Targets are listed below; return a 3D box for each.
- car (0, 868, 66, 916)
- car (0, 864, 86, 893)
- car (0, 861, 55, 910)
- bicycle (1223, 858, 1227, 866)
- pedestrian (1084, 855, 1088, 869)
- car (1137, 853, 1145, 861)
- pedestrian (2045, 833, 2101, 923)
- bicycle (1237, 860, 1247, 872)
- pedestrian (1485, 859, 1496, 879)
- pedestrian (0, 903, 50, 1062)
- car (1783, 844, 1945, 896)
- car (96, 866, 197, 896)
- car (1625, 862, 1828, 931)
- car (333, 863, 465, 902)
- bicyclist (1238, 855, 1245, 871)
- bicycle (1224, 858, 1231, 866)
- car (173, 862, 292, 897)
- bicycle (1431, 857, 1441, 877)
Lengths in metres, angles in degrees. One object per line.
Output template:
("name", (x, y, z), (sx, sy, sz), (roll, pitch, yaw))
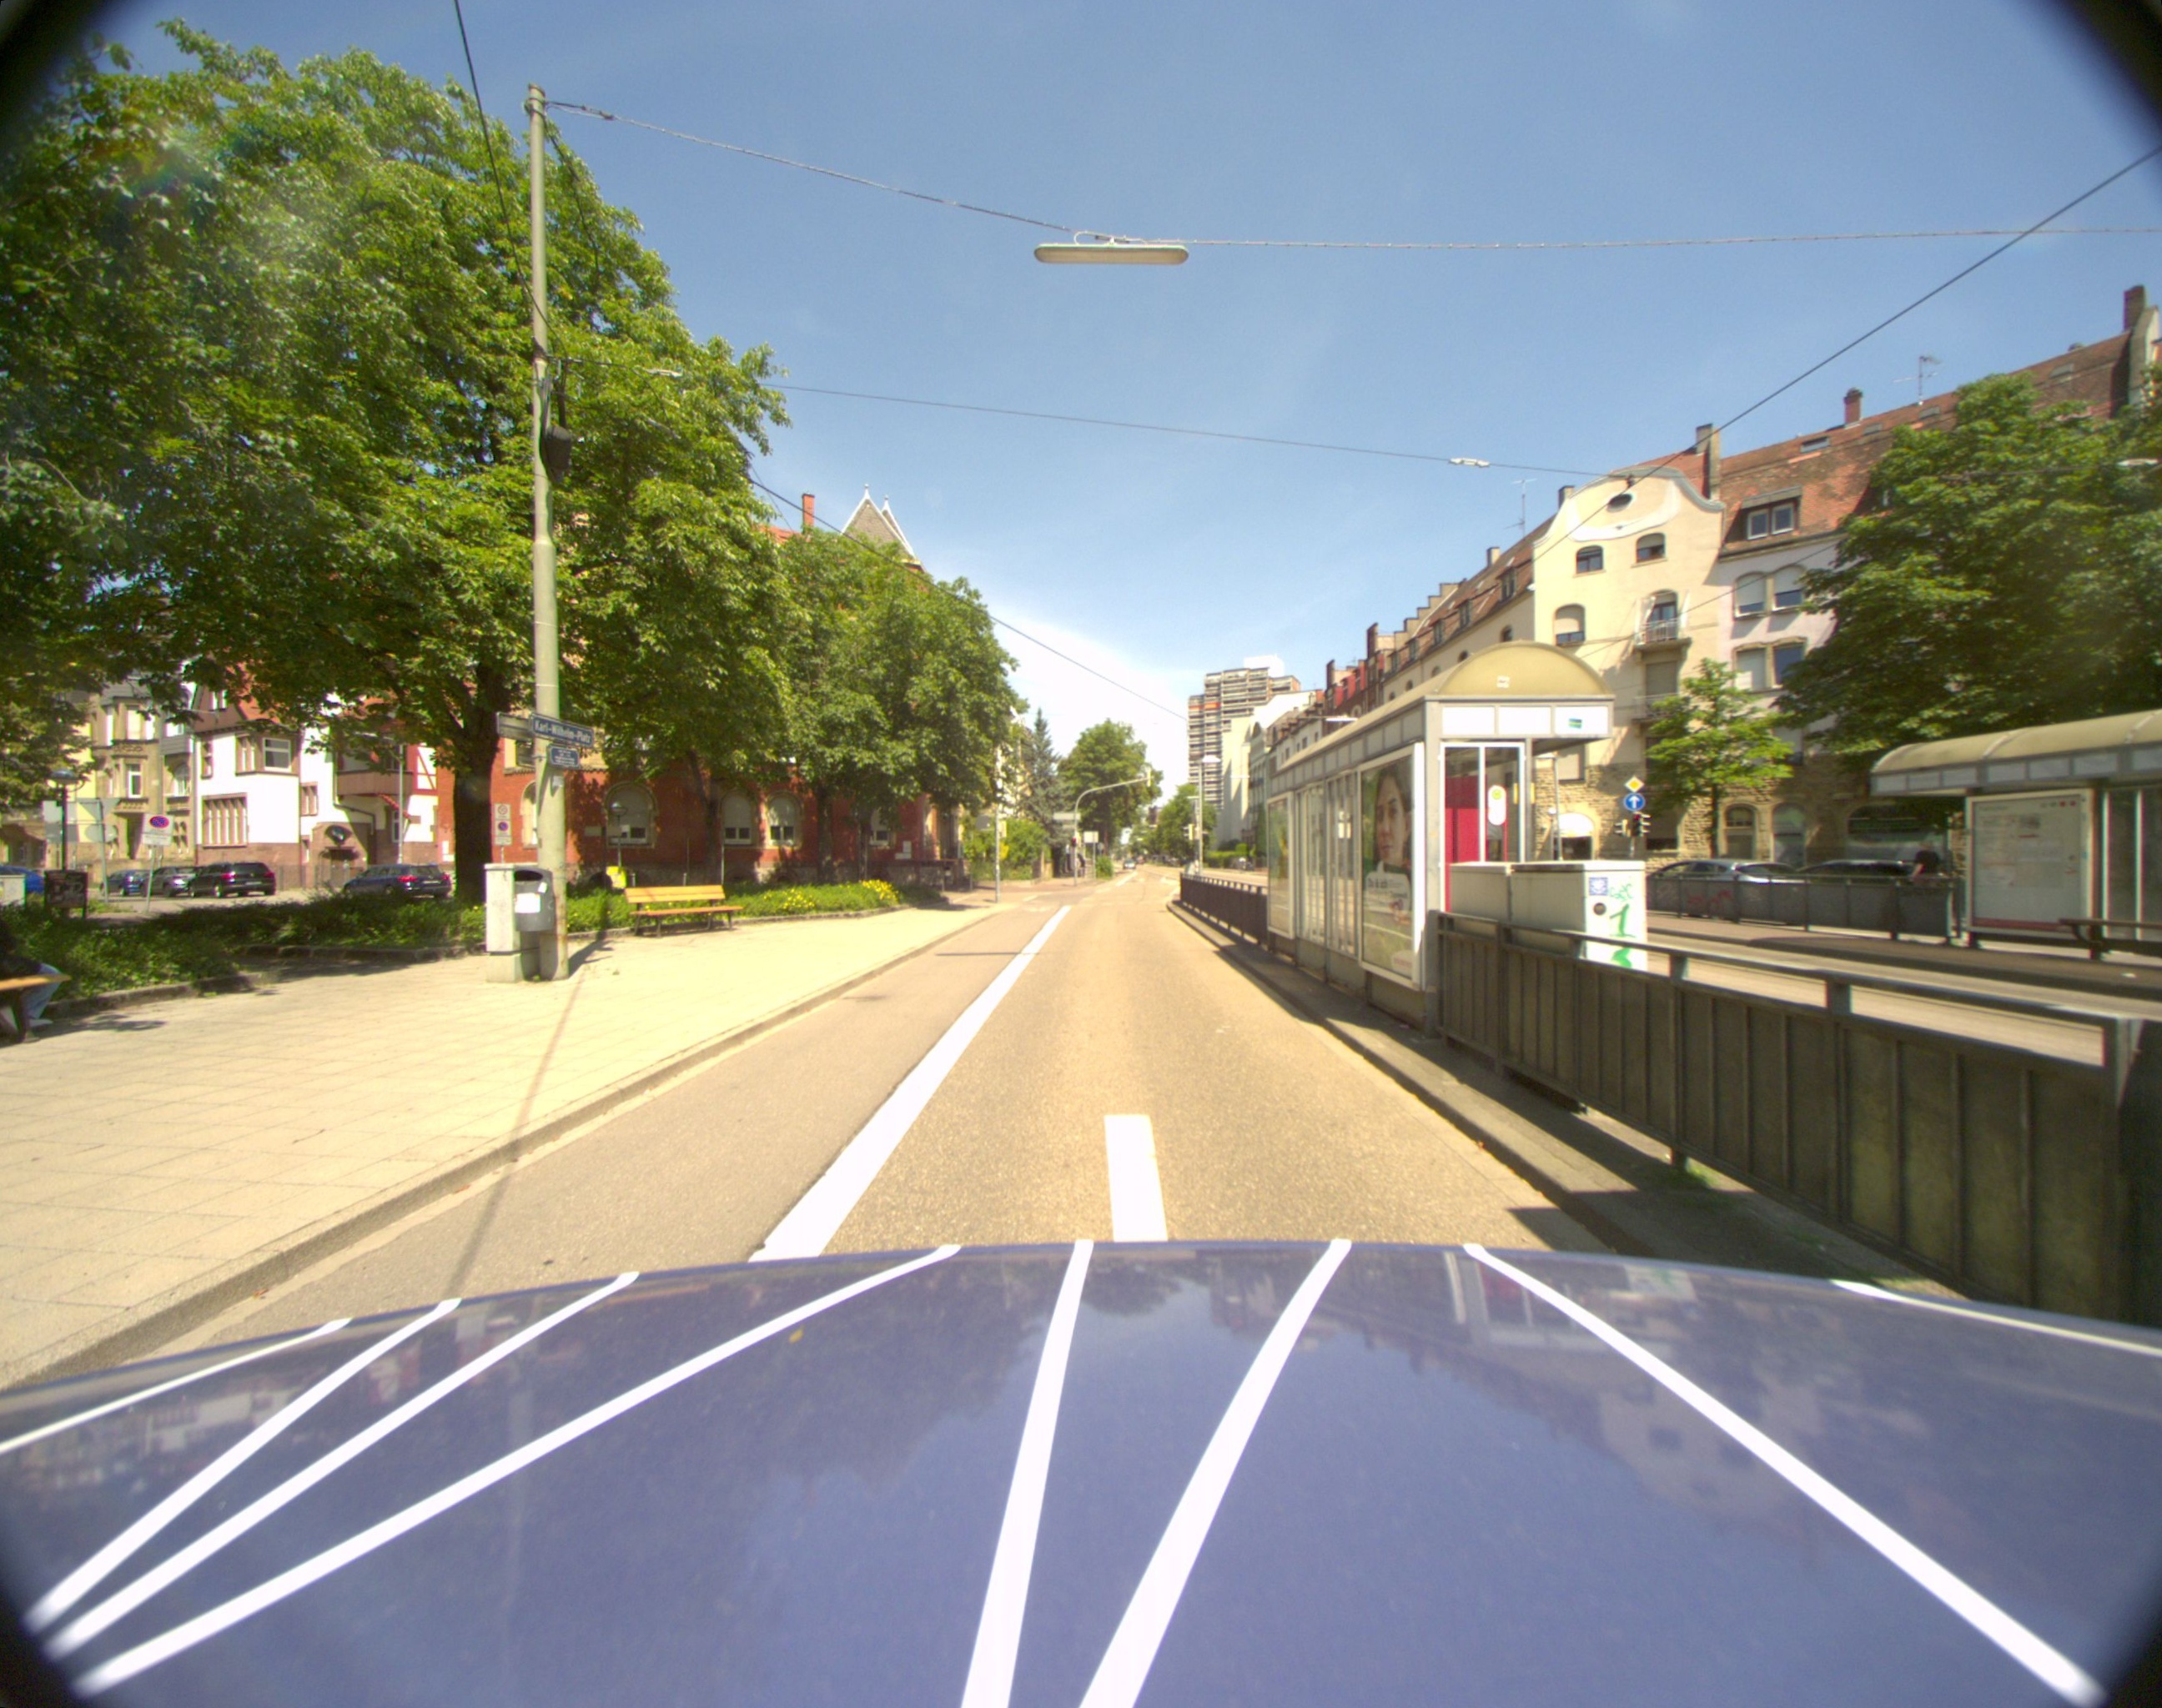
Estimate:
("car", (-32.878, 1.130, 21.971), (1.723, 1.421, 3.895), (-1, -1, 20))
("car", (-59.630, 1.403, 43.576), (4.391, 1.547, 1.908), (-1, 1, 21))
("car", (-37.242, 1.041, 24.735), (1.723, 1.642, 4.273), (-1, -1, 20))
("bicycle", (19.182, 1.000, 101.169), (0.290, 1.040, 1.900), (-1, 1, 1))
("pedestrian", (0.614, 1.018, 94.361), (0.547, 1.683, 0.755), (0, 1, 1))
("car", (15.369, 0.690, 195.931), (1.848, 1.926, 4.823), (1, 1, 2))
("pedestrian", (20.963, 0.509, 16.066), (0.511, 1.868, 0.494), (-1, 1, 6))
("bicycle", (16.272, 1.239, 76.954), (0.629, 1.150, 1.978), (-1, 0, 1))
("pedestrian", (23.079, 0.831, 42.799), (0.406, 1.142, 0.405), (-1, 1, -2))
("pedestrian", (-7.765, 0.902, 5.294), (0.510, 1.085, 0.478), (1, 0, 7))
("car", (25.287, 0.486, 24.667), (1.586, 1.566, 3.577), (-2, 1, -44))
("car", (-48.838, 1.389, 39.724), (4.605, 1.456, 1.908), (-1, 1, 21))
("car", (14.766, 0.904, 17.663), (1.544, 1.331, 3.718), (-1, 1, 0))
("car", (-27.229, 1.118, 30.329), (4.748, 1.433, 1.908), (-1, 1, 21))
("bicyclist", (16.283, 0.881, 76.995), (0.609, 1.565, 0.585), (-1, 1, 1))
("bicycle", (19.139, 1.044, 99.124), (0.493, 1.090, 2.047), (-1, 0, 1))
("car", (-40.047, 1.172, 35.856), (5.477, 1.523, 1.991), (-1, 1, 22))
("bicycle", (22.763, 0.854, 48.744), (0.454, 1.218, 2.083), (-1, 1, 21))
